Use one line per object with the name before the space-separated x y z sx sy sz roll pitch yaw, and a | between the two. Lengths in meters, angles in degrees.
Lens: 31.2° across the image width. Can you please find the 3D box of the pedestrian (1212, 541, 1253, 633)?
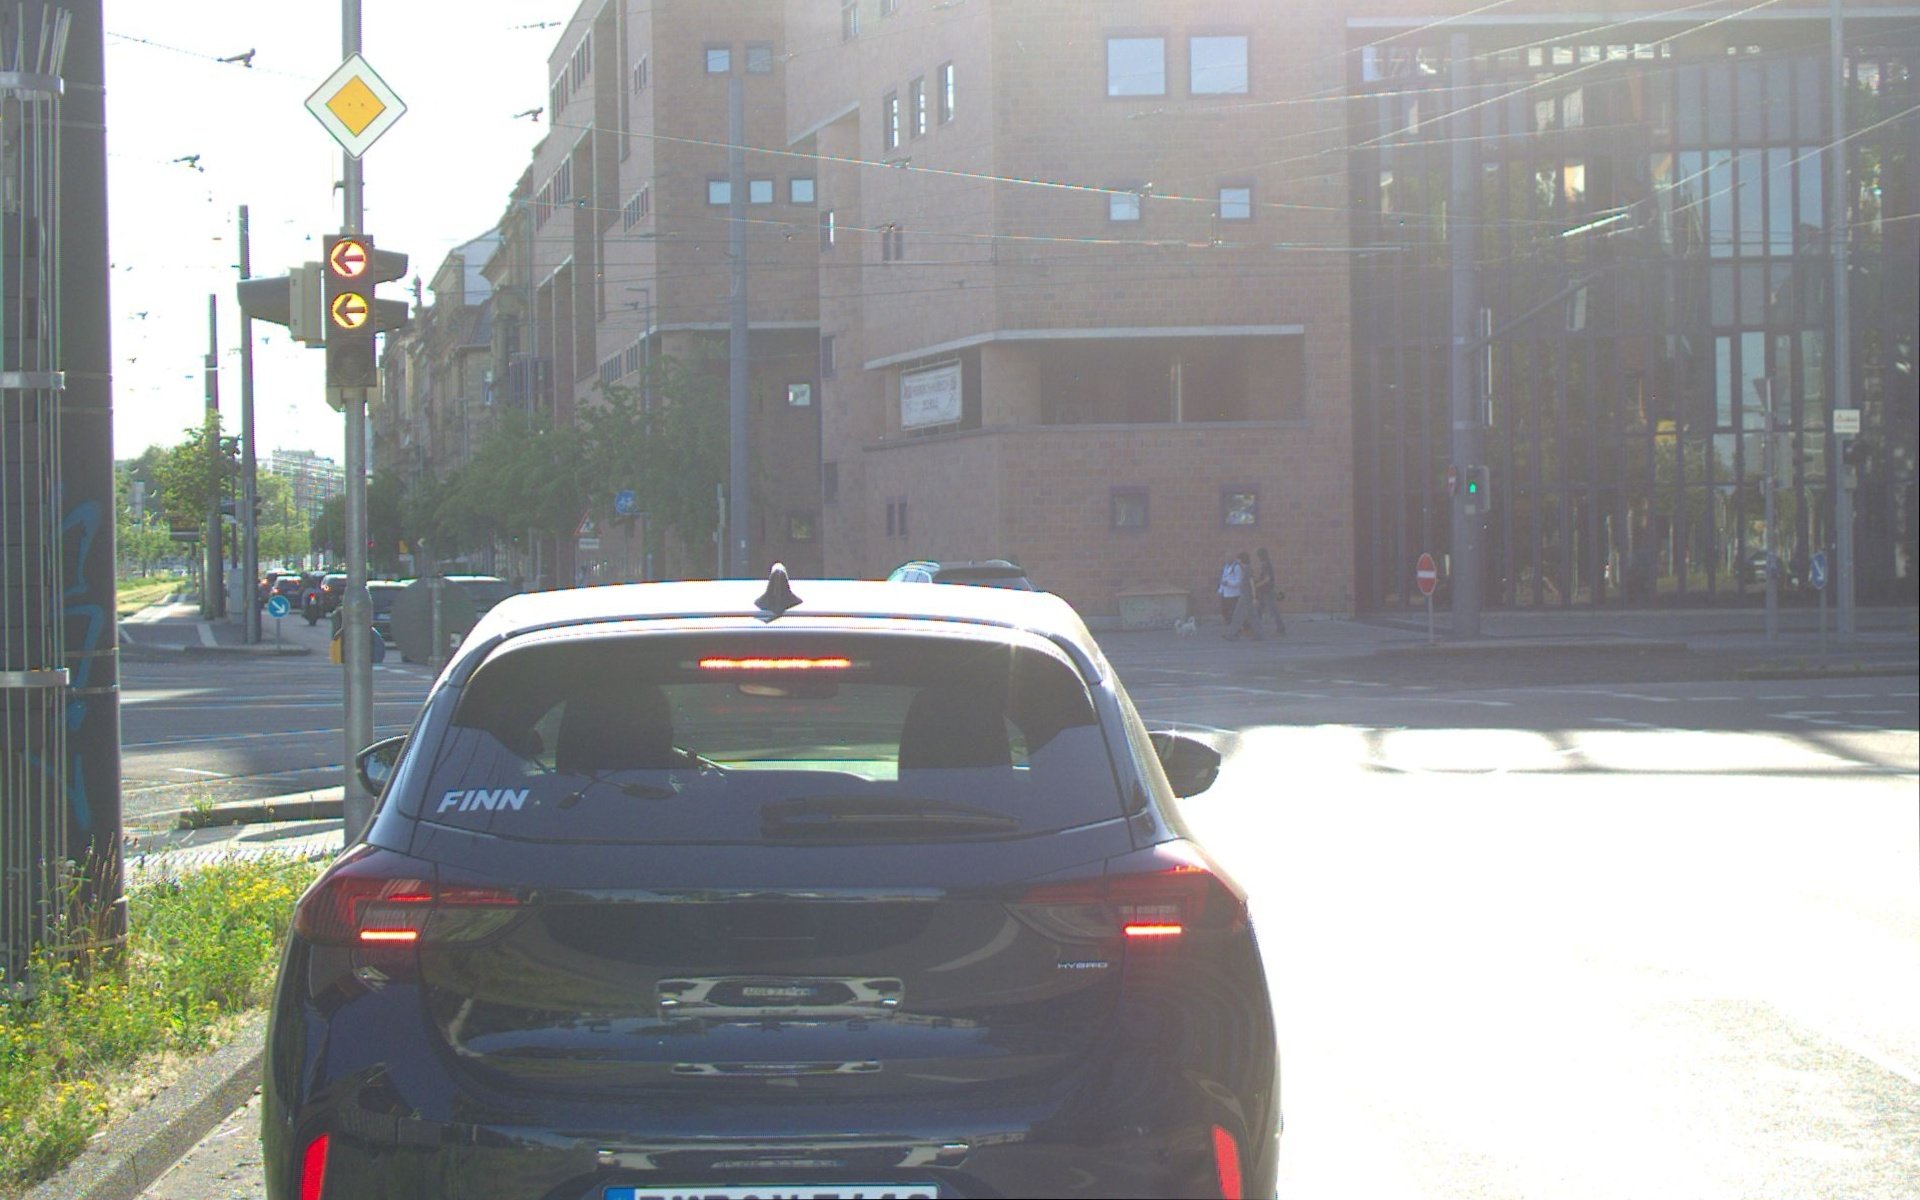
pedestrian | 5.362 -0.259 67.664 0.571 1.780 0.549 -2 1 -19

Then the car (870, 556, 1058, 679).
car | 0.009 0.192 43.862 1.670 1.448 3.699 -2 1 -11

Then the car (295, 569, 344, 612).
car | -22.992 -0.353 123.363 1.514 1.448 3.585 -2 1 -13

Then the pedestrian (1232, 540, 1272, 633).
pedestrian | 5.696 -0.265 67.065 0.571 1.780 0.549 -2 1 -19

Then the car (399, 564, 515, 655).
car | -8.526 0.136 58.130 1.720 1.448 3.699 -2 1 -11

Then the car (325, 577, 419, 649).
car | -12.586 0.257 73.437 1.720 1.448 3.699 -2 1 -13

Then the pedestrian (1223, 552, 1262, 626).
pedestrian | 5.745 -0.226 69.823 0.547 1.472 0.573 -2 2 -29

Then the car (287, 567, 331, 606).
car | -25.703 -0.537 135.737 1.514 1.448 3.585 -2 1 -13

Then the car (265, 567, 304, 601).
car | -29.441 -0.706 149.765 1.514 1.448 3.585 -2 1 -13

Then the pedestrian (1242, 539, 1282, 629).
pedestrian | 6.019 -0.318 68.585 0.571 1.780 0.549 -2 1 -19

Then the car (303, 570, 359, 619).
car | -19.626 -0.196 107.204 1.514 1.448 3.585 -2 1 -13

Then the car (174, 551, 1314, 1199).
car | -0.342 0.660 6.918 1.672 1.496 3.691 1 1 -1
